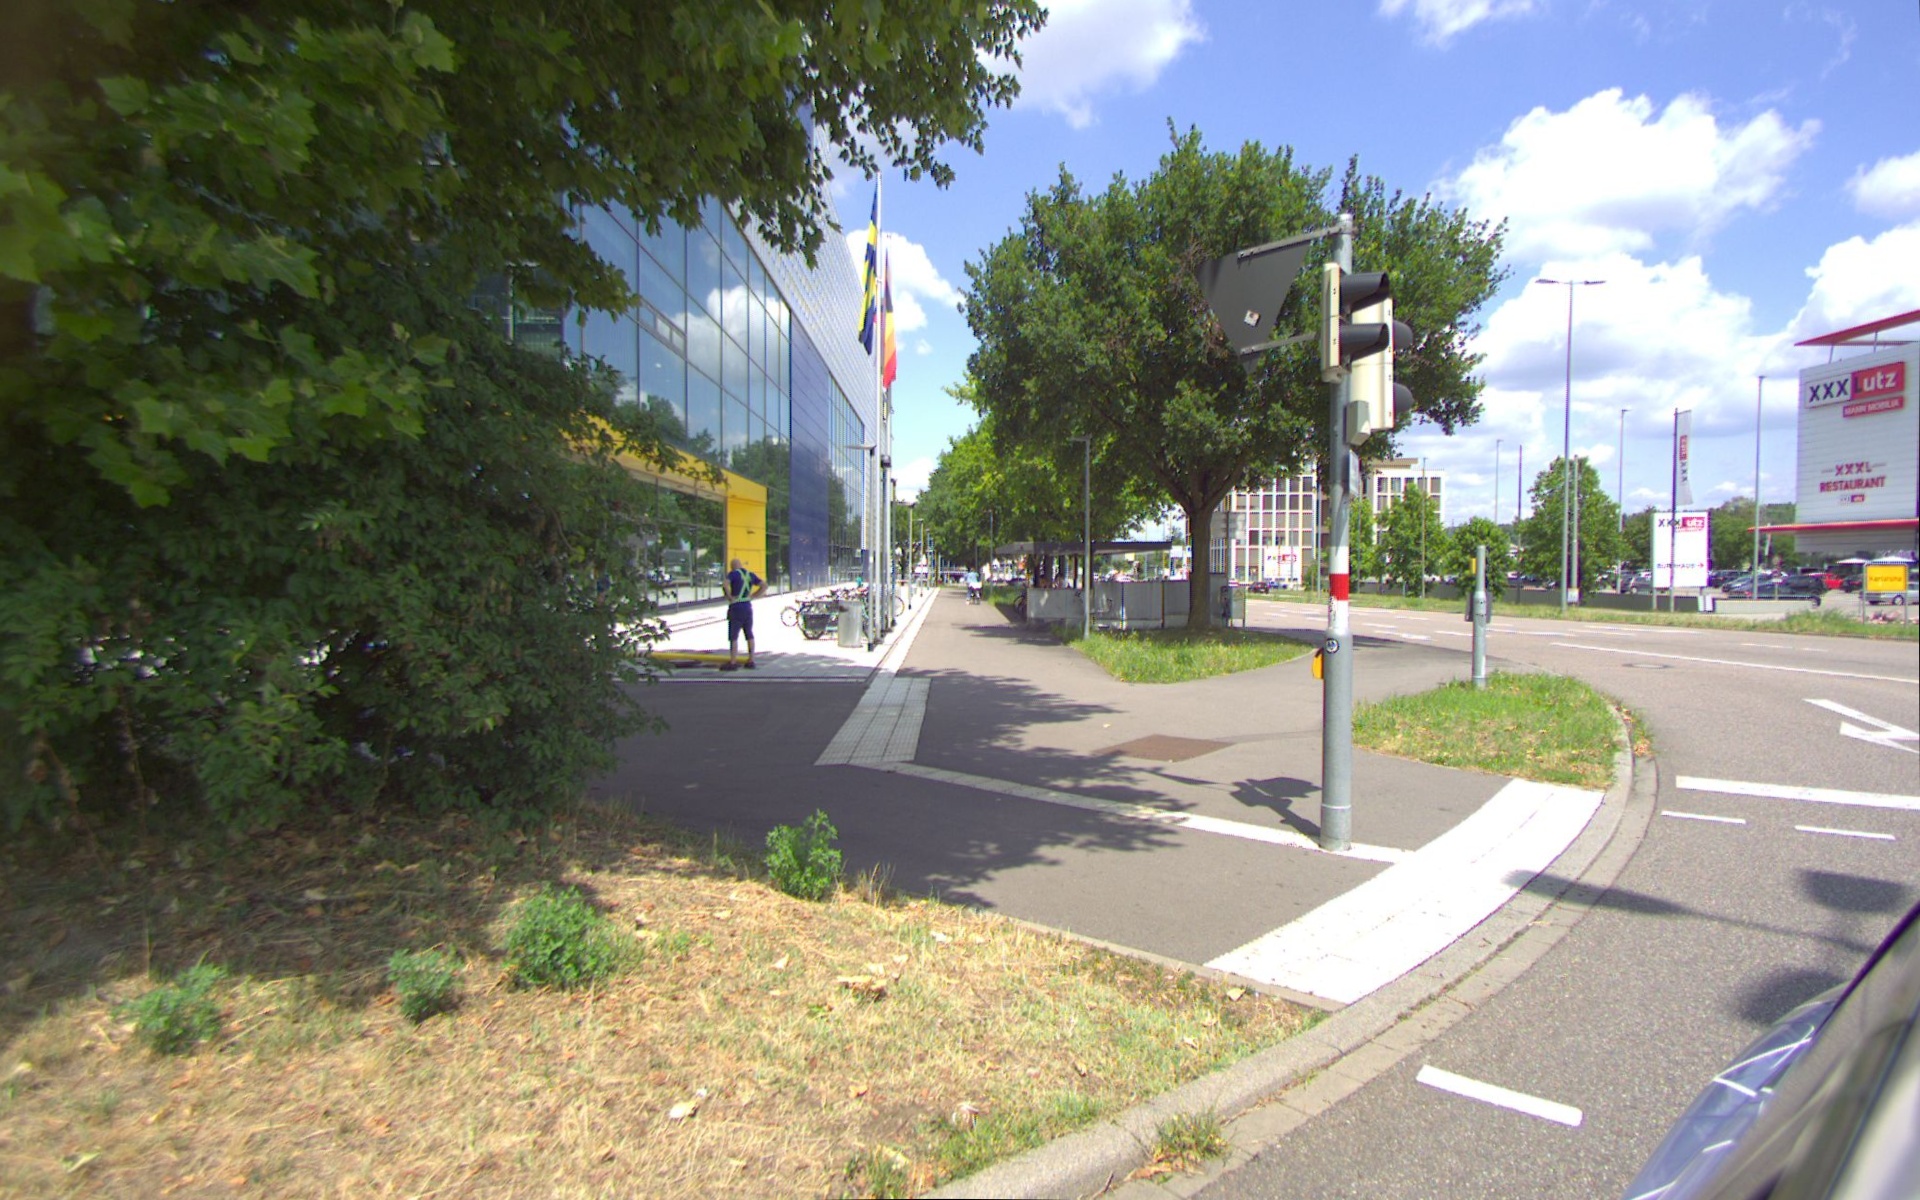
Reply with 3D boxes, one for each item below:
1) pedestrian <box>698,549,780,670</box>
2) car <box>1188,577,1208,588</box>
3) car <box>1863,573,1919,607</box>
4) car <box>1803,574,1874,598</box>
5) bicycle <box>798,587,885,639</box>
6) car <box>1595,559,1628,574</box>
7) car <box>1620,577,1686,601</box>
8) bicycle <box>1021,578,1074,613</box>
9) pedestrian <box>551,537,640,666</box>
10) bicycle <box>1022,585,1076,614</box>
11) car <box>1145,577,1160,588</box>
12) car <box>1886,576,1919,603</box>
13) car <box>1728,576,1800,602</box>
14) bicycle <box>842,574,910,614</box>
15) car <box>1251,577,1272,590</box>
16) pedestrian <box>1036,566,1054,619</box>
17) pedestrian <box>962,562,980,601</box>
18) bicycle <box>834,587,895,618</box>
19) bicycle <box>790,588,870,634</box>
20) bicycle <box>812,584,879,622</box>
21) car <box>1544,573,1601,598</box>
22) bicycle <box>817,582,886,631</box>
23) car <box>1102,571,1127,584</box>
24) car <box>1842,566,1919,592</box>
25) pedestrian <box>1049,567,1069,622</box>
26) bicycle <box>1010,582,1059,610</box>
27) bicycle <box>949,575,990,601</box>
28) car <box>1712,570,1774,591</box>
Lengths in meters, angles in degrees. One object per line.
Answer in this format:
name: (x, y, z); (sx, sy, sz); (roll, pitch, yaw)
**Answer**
pedestrian: (-3.635, 0.132, 16.705); (0.997, 1.925, 0.969); (0, 1, 16)
car: (31.079, -2.231, 132.307); (1.765, 1.419, 4.841); (0, 1, 3)
car: (58.969, -0.632, 62.591); (4.281, 2.014, 2.000); (0, 1, 1)
car: (75.683, -1.216, 87.235); (4.281, 2.014, 2.000); (0, 1, 1)
bicycle: (-2.689, 0.297, 23.029); (1.885, 1.121, 0.506); (0, 3, -16)
car: (86.592, -4.415, 134.510); (1.821, 1.856, 3.833); (1, 1, 0)
car: (59.891, -0.915, 87.531); (4.281, 2.014, 1.999); (0, 0, 1)
bicycle: (3.187, -0.178, 36.897); (1.831, 1.247, 0.424); (1, 1, -3)
pedestrian: (-6.121, 0.003, 17.033); (0.997, 2.097, 0.969); (0, 3, 16)
bicycle: (3.120, -0.023, 35.675); (1.831, 1.007, 0.424); (1, 2, -3)
car: (29.162, -2.604, 153.319); (1.765, 1.665, 4.165); (1, 1, 5)
car: (74.123, -0.780, 77.607); (4.281, 2.014, 2.000); (0, 1, 1)
car: (65.316, -0.932, 82.283); (4.220, 2.068, 1.991); (0, 1, 1)
bicycle: (-2.806, -0.207, 33.766); (2.114, 1.245, 0.718); (2, 1, 12)
car: (36.069, -1.983, 121.062); (1.596, 1.488, 4.111); (1, 1, 5)
pedestrian: (2.712, -0.258, 32.436); (0.536, 1.683, 0.478); (0, 0, 0)
pedestrian: (0.493, -0.852, 46.523); (0.523, 1.742, 0.625); (3, 3, 43)
bicycle: (-2.955, 0.072, 31.372); (1.831, 0.893, 0.424); (1, 1, -3)
bicycle: (-3.105, 0.263, 24.256); (1.834, 1.007, 0.423); (3, 1, 4)
bicycle: (-3.252, 0.072, 28.809); (1.831, 1.007, 0.424); (2, 2, -3)
car: (60.214, -1.432, 99.513); (4.281, 2.358, 2.000); (0, 1, 1)
bicycle: (-2.711, 0.163, 25.271); (1.646, 1.172, 0.462); (1, 1, -12)
car: (25.608, -3.699, 167.630); (3.930, 2.039, 1.997); (1, 1, 6)
car: (74.570, -1.718, 82.029); (4.281, 2.014, 2.000); (0, 1, 1)
pedestrian: (3.052, -0.171, 31.132); (0.537, 1.683, 0.544); (0, 0, 12)
bicycle: (2.861, -0.157, 39.012); (1.831, 1.007, 0.424); (2, 2, -3)
bicycle: (0.430, -0.554, 46.600); (2.009, 1.121, 0.568); (3, 2, 44)
car: (74.626, -1.867, 96.510); (4.281, 2.014, 2.000); (0, 1, 1)
